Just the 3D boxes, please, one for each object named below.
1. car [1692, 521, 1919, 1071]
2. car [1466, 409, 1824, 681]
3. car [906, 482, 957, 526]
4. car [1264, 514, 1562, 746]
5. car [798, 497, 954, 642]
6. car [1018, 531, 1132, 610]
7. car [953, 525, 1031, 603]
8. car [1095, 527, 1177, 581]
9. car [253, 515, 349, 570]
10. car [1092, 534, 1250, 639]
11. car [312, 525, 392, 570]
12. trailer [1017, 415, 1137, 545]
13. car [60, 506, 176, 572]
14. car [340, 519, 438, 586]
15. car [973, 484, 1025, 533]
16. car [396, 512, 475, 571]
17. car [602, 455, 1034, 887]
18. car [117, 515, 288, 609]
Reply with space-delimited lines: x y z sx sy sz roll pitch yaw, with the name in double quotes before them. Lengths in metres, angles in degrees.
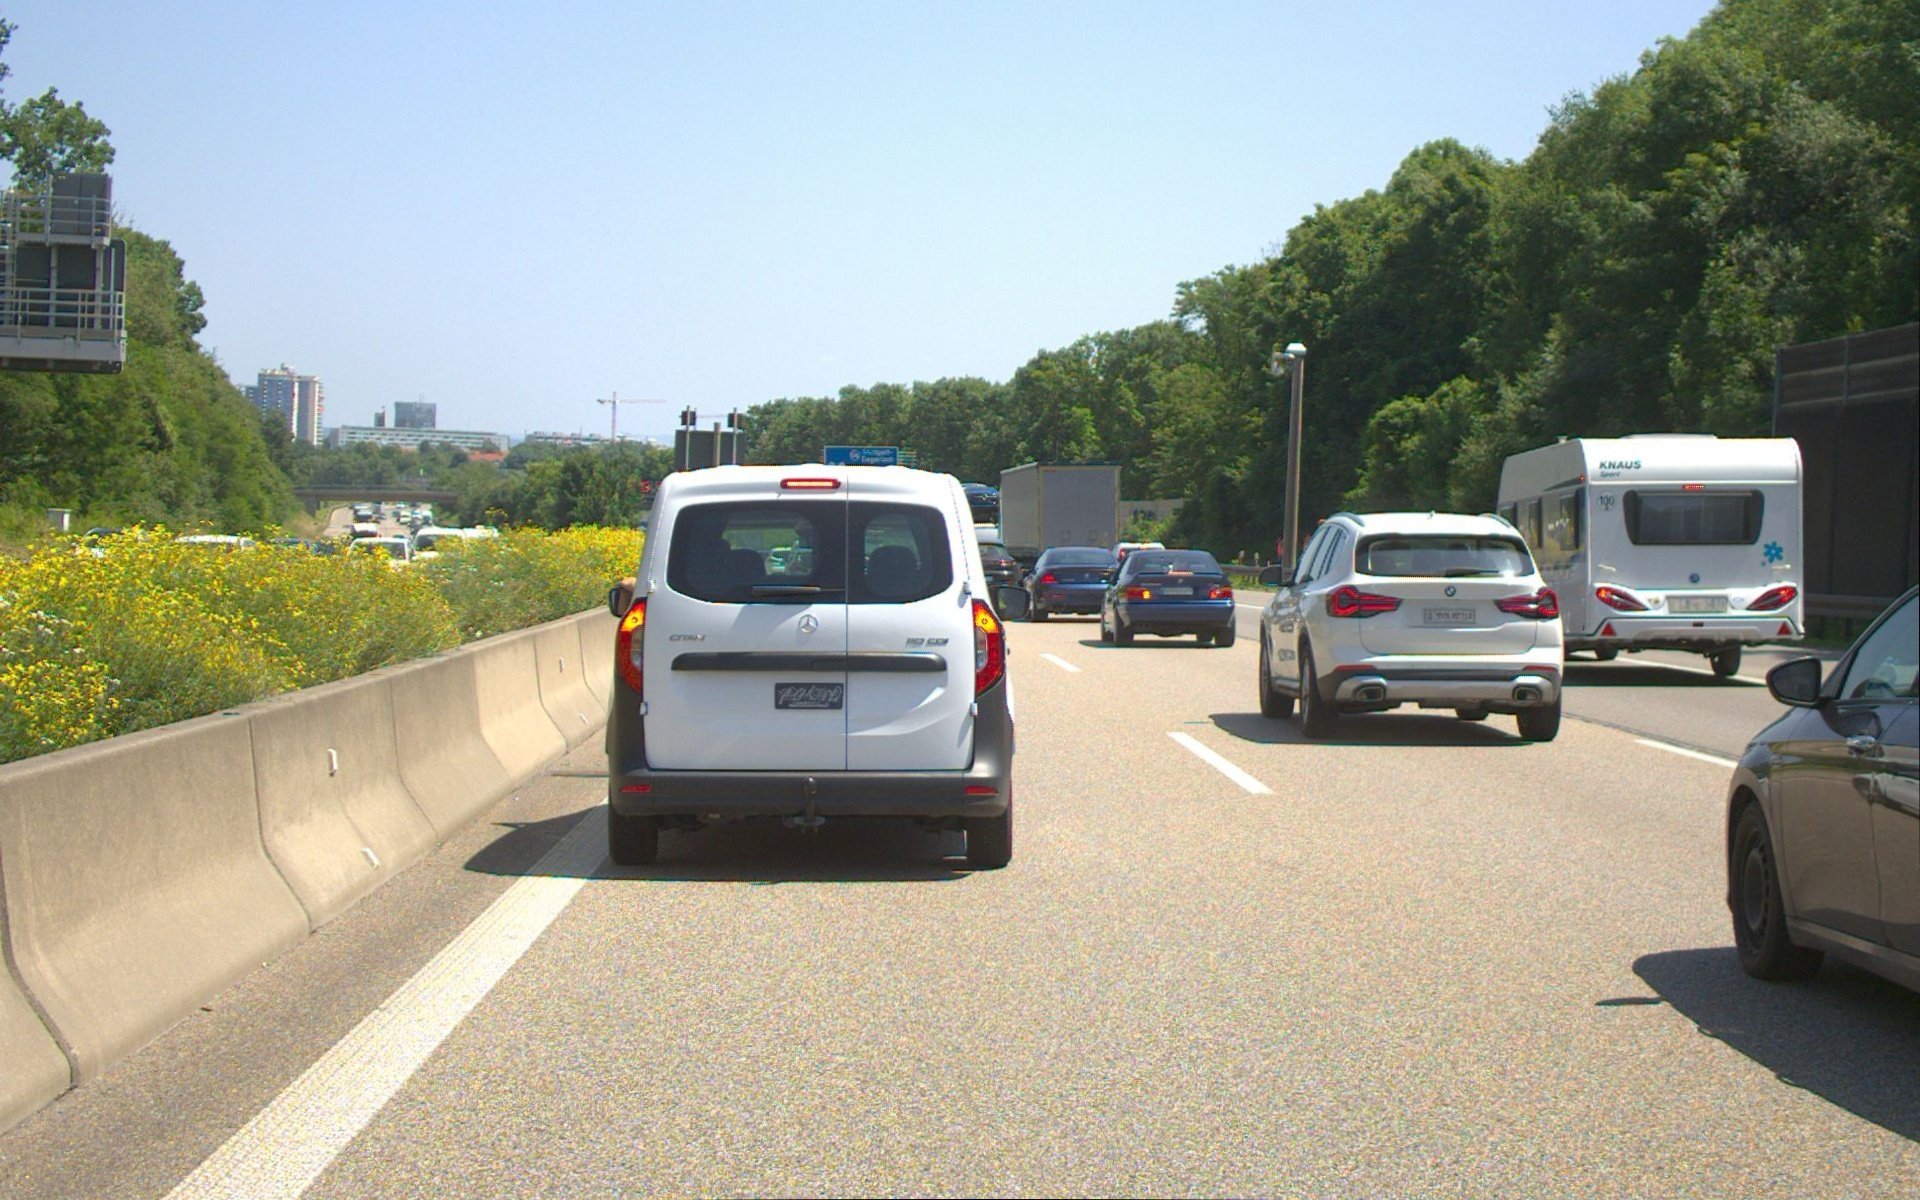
"car" 3.583 0.553 10.029 1.838 1.508 4.402 1 2 -1
"car" 7.440 -0.618 38.164 2.478 2.756 6.221 0 1 -2
"car" -1.346 -4.441 159.891 1.993 2.007 4.001 0 1 -6
"car" 3.391 0.165 26.377 1.871 1.602 3.879 1 2 2
"car" -1.167 -0.428 46.375 1.993 1.853 4.001 0 1 -2
"car" 2.114 -0.571 64.157 1.824 1.419 4.001 0 1 -2
"car" 0.814 -0.955 90.124 1.824 1.982 4.001 0 1 -2
"car" 4.705 -1.240 92.127 1.824 1.419 4.001 0 1 -2
"car" -18.287 -1.612 95.595 1.993 1.486 4.001 0 1 -2
"car" 2.951 -0.216 48.794 1.824 1.419 4.001 0 1 -2
"car" -19.867 -1.724 112.446 1.993 1.439 4.007 0 1 -2
"trailer" 3.674 -3.780 110.873 3.081 3.972 10.324 0 1 -2
"car" -22.104 -1.619 90.395 1.993 1.686 4.768 0 1 -2
"car" -13.033 -1.106 78.596 1.675 1.493 3.883 0 1 -1
"car" 1.598 -3.804 142.711 1.993 2.007 4.001 0 1 -2
"car" -15.990 -1.803 104.974 1.884 1.749 4.277 0 1 -2
"car" -0.568 0.260 16.518 1.802 1.802 4.000 1 1 1
"car" -12.617 -0.654 57.487 1.993 1.493 4.248 0 1 -1
